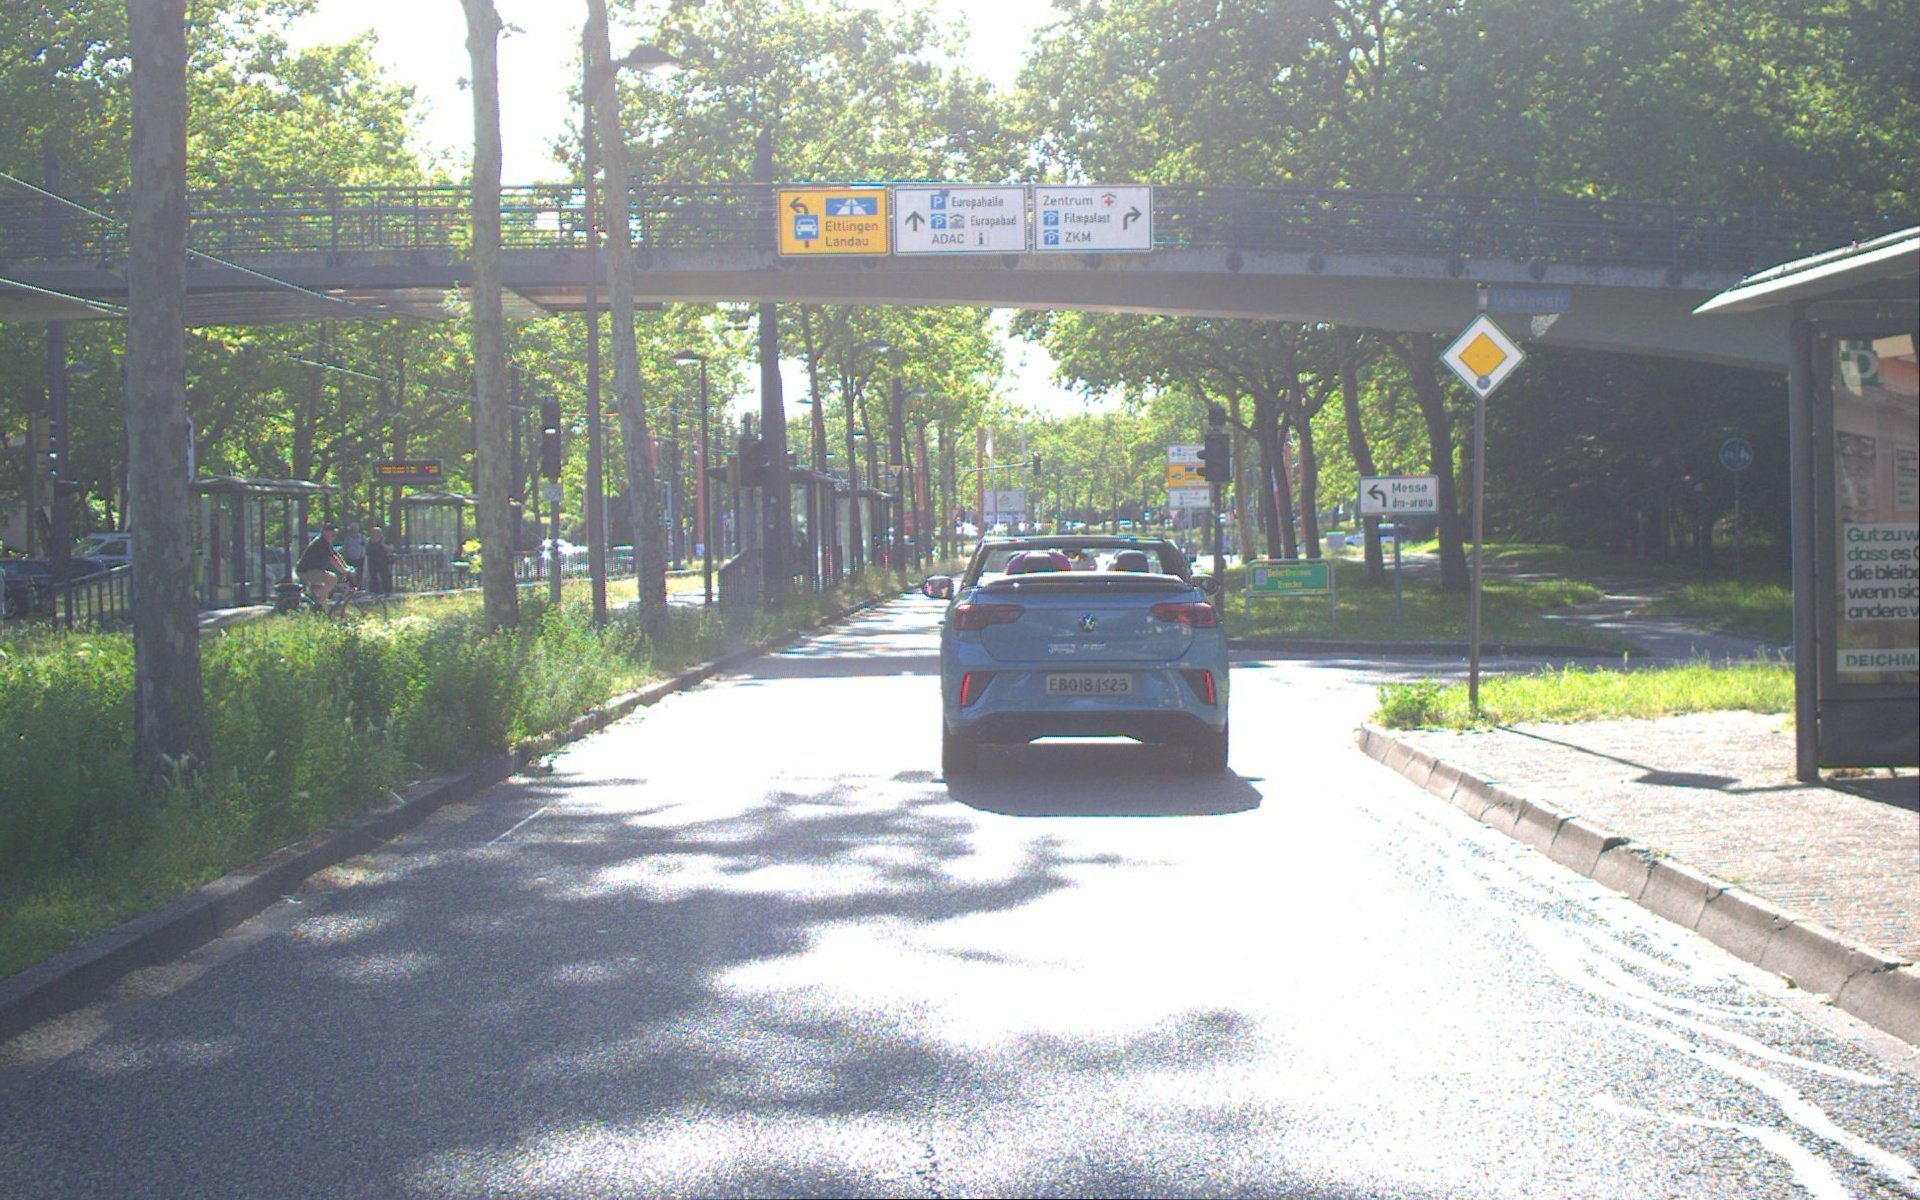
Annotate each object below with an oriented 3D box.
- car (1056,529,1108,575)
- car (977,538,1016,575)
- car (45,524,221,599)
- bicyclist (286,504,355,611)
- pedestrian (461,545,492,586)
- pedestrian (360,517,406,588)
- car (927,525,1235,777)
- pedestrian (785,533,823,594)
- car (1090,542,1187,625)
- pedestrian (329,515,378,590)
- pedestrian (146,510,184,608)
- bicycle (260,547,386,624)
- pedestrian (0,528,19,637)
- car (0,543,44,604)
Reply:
[{"bbox_3d":[4.071,-1.619,115.102,1.639,1.489,3.503,0,2,0],"label":"car"},{"bbox_3d":[1.609,-1.916,152.244,1.710,1.598,3.350,0,1,0],"label":"car"},{"bbox_3d":[-23.621,-1.105,98.219,4.486,2.056,1.900,0,2,-37],"label":"car"},{"bbox_3d":[-9.862,-0.661,53.023,0.953,1.626,0.815,1,2,-6],"label":"bicyclist"},{"bbox_3d":[-13.911,-0.999,98.937,0.694,1.123,0.662,-4,0,2],"label":"pedestrian"},{"bbox_3d":[-12.584,-1.038,75.002,0.683,1.508,0.643,-2,1,23],"label":"pedestrian"},{"bbox_3d":[0.700,0.260,22.452,1.776,1.478,4.101,0,1,-1],"label":"car"},{"bbox_3d":[-3.185,-0.746,70.247,0.733,1.248,0.588,1,0,-5],"label":"pedestrian"},{"bbox_3d":[3.993,-0.393,77.533,1.982,1.786,4.614,-1,1,1],"label":"car"},{"bbox_3d":[-13.416,-1.045,76.088,0.714,1.629,0.730,-1,1,36],"label":"pedestrian"},{"bbox_3d":[-14.466,-0.747,62.583,0.502,1.764,0.484,0,1,-40],"label":"pedestrian"},{"bbox_3d":[-9.819,-0.226,53.042,1.830,1.143,0.815,1,2,-6],"label":"bicycle"},{"bbox_3d":[-15.072,-0.276,53.272,0.725,1.668,1.049,0,0,-3],"label":"pedestrian"},{"bbox_3d":[-24.224,-0.646,82.147,4.187,1.423,1.700,0,2,-37],"label":"car"}]
